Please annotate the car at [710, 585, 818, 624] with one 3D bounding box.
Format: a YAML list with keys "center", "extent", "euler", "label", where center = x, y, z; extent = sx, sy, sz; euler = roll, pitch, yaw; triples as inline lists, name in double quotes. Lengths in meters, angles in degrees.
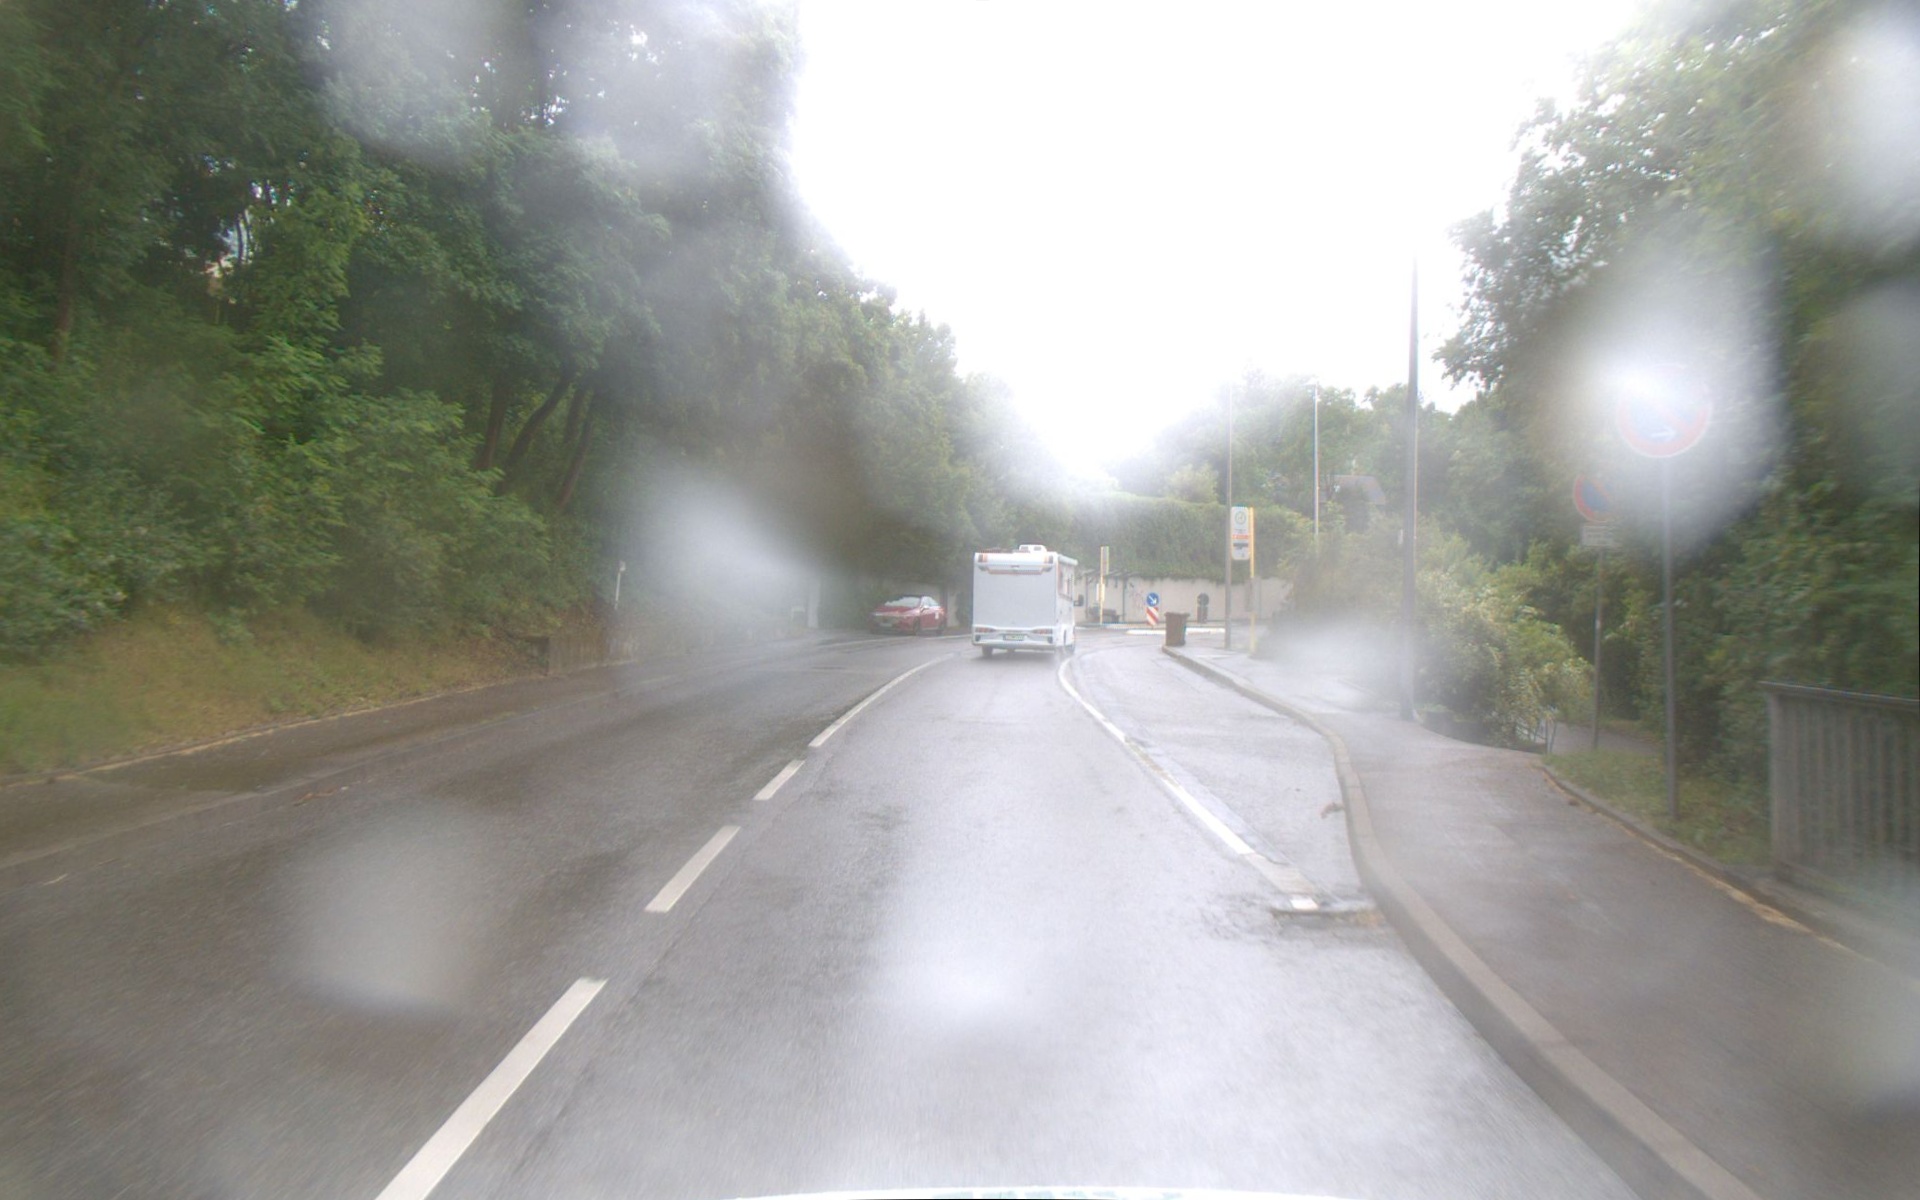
- center: [-7.976, 0.181, 67.396]
  extent: [3.903, 1.530, 1.880]
  euler: [1, 0, 18]
  label: "car"

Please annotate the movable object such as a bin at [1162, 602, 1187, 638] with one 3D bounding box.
- center: [7.022, 0.643, 54.065]
  extent: [0.761, 1.153, 0.739]
  euler: [1, 0, 9]
  label: "movable object such as a bin"

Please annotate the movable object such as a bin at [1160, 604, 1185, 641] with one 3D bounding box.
- center: [6.790, 0.710, 52.841]
  extent: [0.761, 1.153, 0.739]
  euler: [1, 0, 9]
  label: "movable object such as a bin"

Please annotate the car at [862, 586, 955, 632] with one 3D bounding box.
- center: [-1.842, 0.300, 61.279]
  extent: [1.952, 1.589, 4.655]
  euler: [2, 1, 18]
  label: "car"

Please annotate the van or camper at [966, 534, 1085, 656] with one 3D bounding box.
- center: [1.874, -0.122, 44.996]
  extent: [2.486, 2.976, 5.953]
  euler: [-3, -1, 8]
  label: "van or camper"
